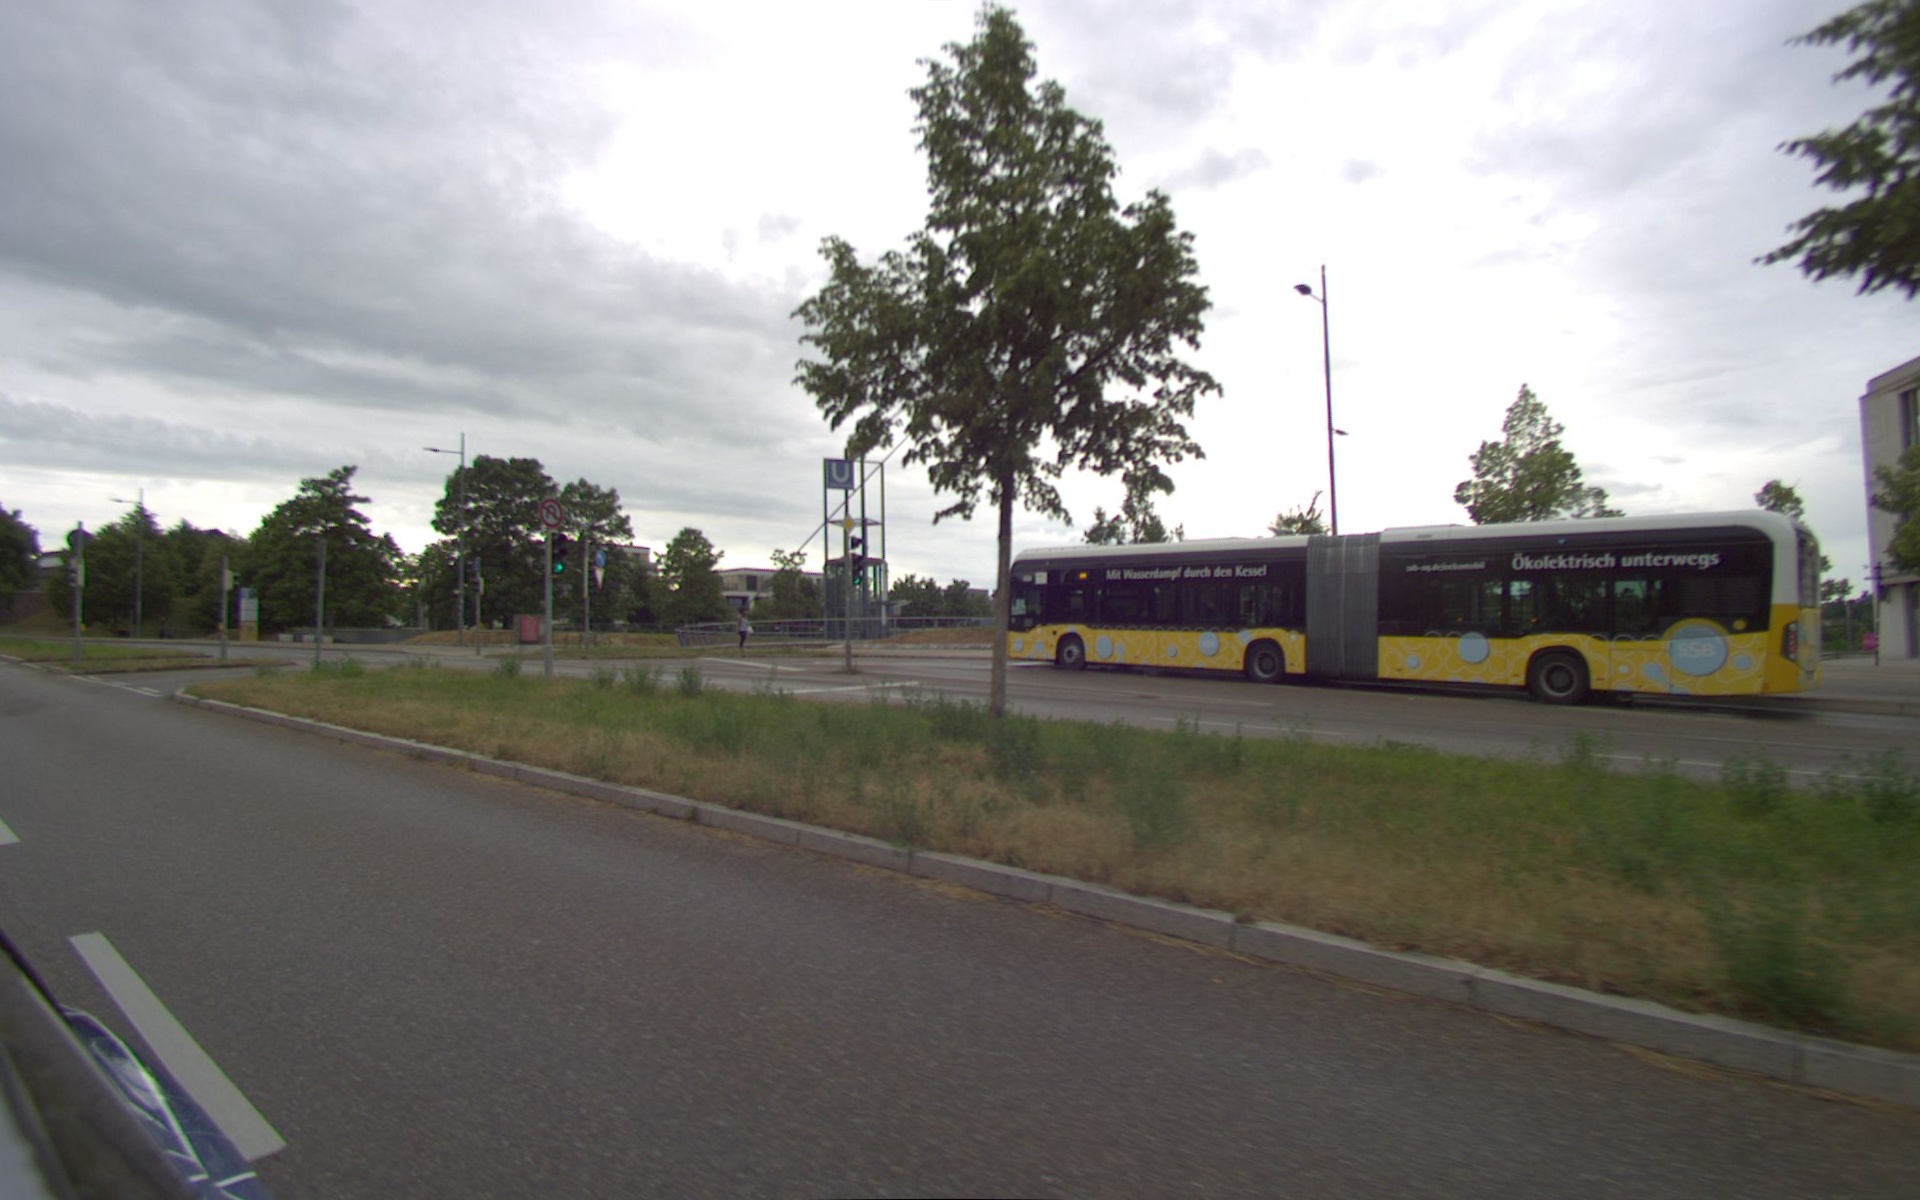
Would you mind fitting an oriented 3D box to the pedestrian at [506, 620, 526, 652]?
[{"bbox_3d":[-22.717,1.827,51.756,0.811,1.606,0.608,-4,-3,36],"label":"pedestrian"}]

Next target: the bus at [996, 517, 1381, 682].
[{"bbox_3d":[5.386,-0.021,26.194,2.787,3.498,9.988,-1,0,-41],"label":"bus"}]

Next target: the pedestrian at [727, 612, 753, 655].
[{"bbox_3d":[-8.574,1.311,39.462,0.667,1.606,0.818,-3,-3,15],"label":"pedestrian"}]

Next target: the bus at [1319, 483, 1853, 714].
[{"bbox_3d":[11.410,-0.033,19.364,2.787,3.498,8.242,-1,0,-41],"label":"bus"}]
